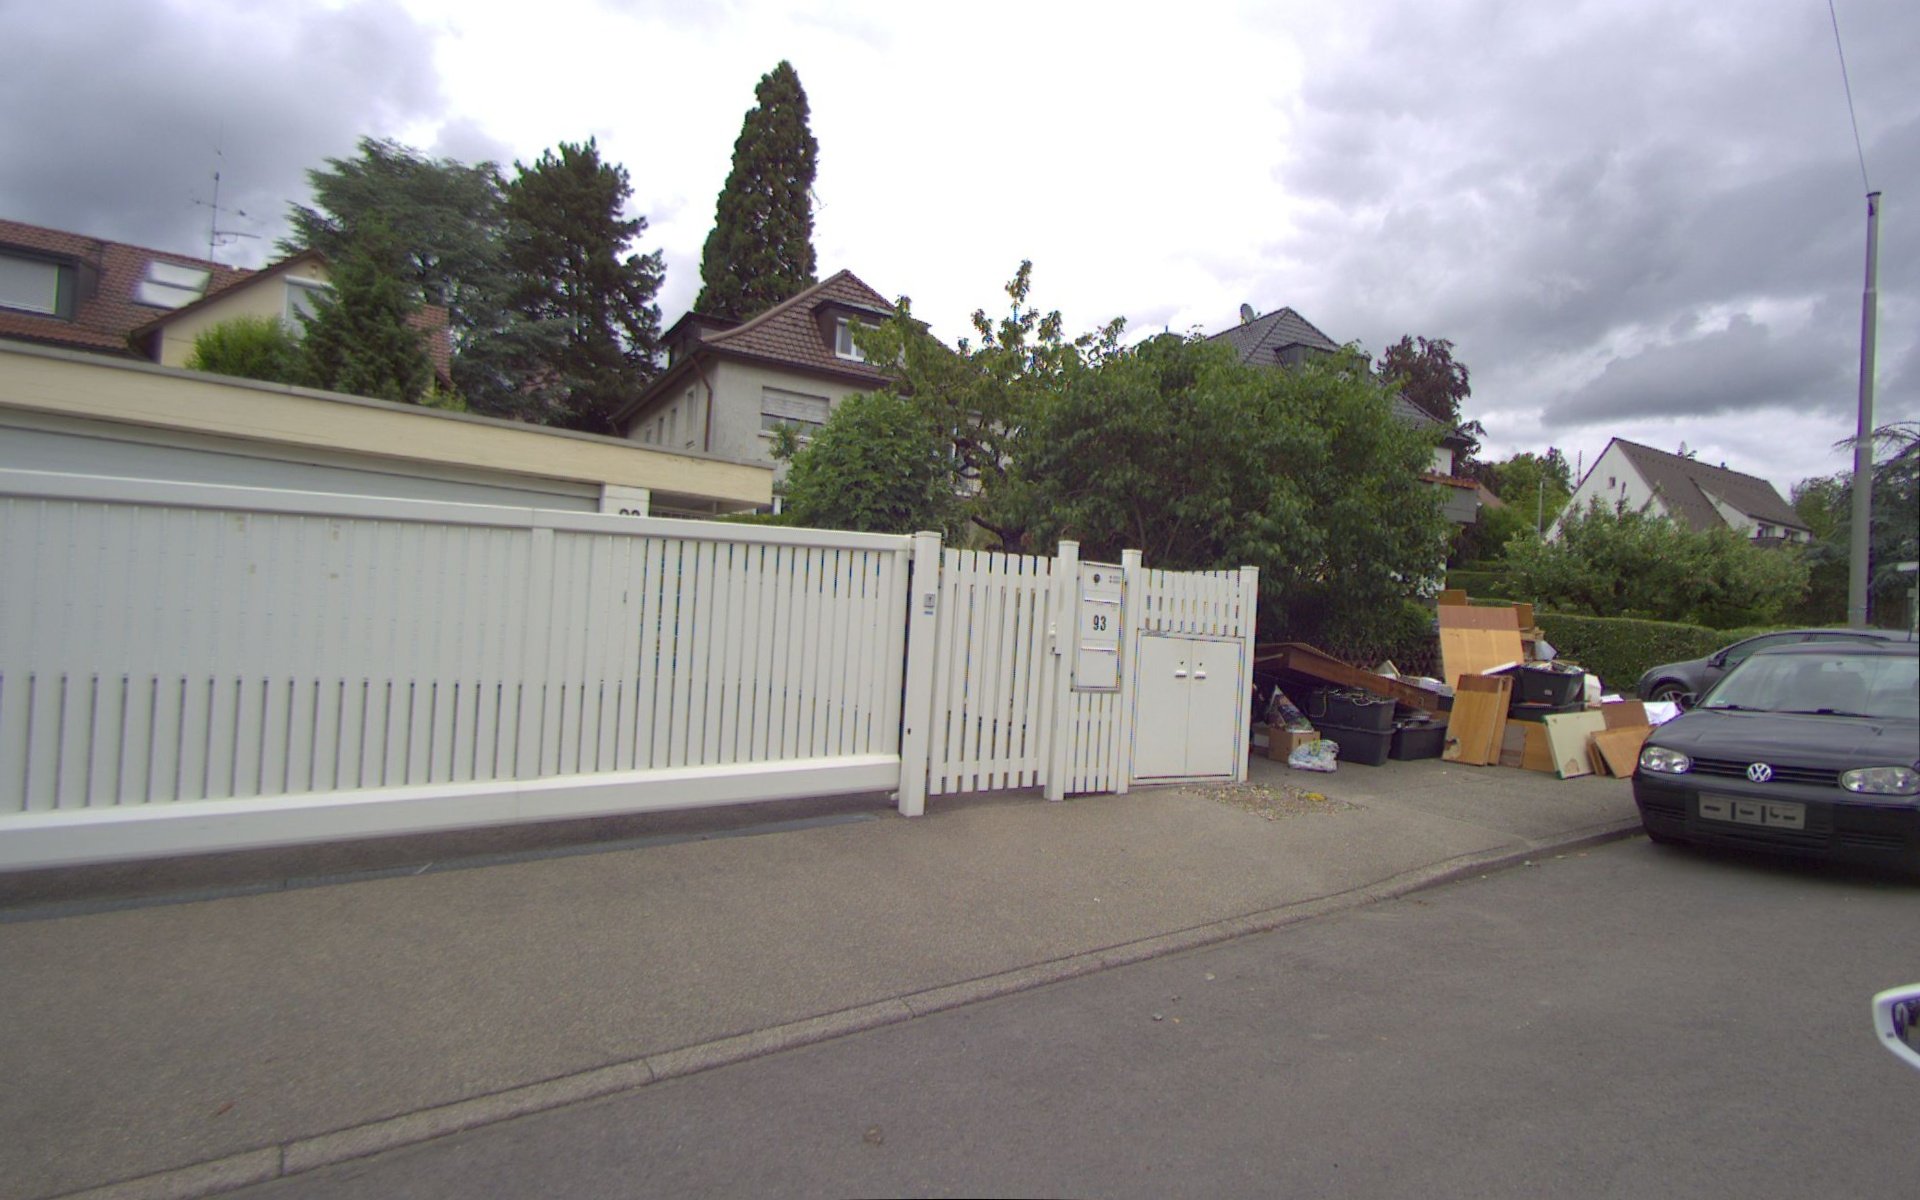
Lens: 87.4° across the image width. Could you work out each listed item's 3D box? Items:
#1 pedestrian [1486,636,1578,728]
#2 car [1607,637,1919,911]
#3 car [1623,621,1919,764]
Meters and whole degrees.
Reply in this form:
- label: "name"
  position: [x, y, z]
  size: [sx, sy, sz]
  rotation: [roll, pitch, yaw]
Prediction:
- label: "pedestrian"
  position: [8.336, 1.176, 14.679]
  size: [0.930, 1.241, 0.837]
  rotation: [2, 0, 14]
- label: "car"
  position: [6.251, 0.974, 6.980]
  size: [3.950, 1.413, 1.626]
  rotation: [1, -2, -36]
- label: "car"
  position: [11.034, 1.079, 12.876]
  size: [1.797, 1.463, 3.985]
  rotation: [1, 1, -17]
